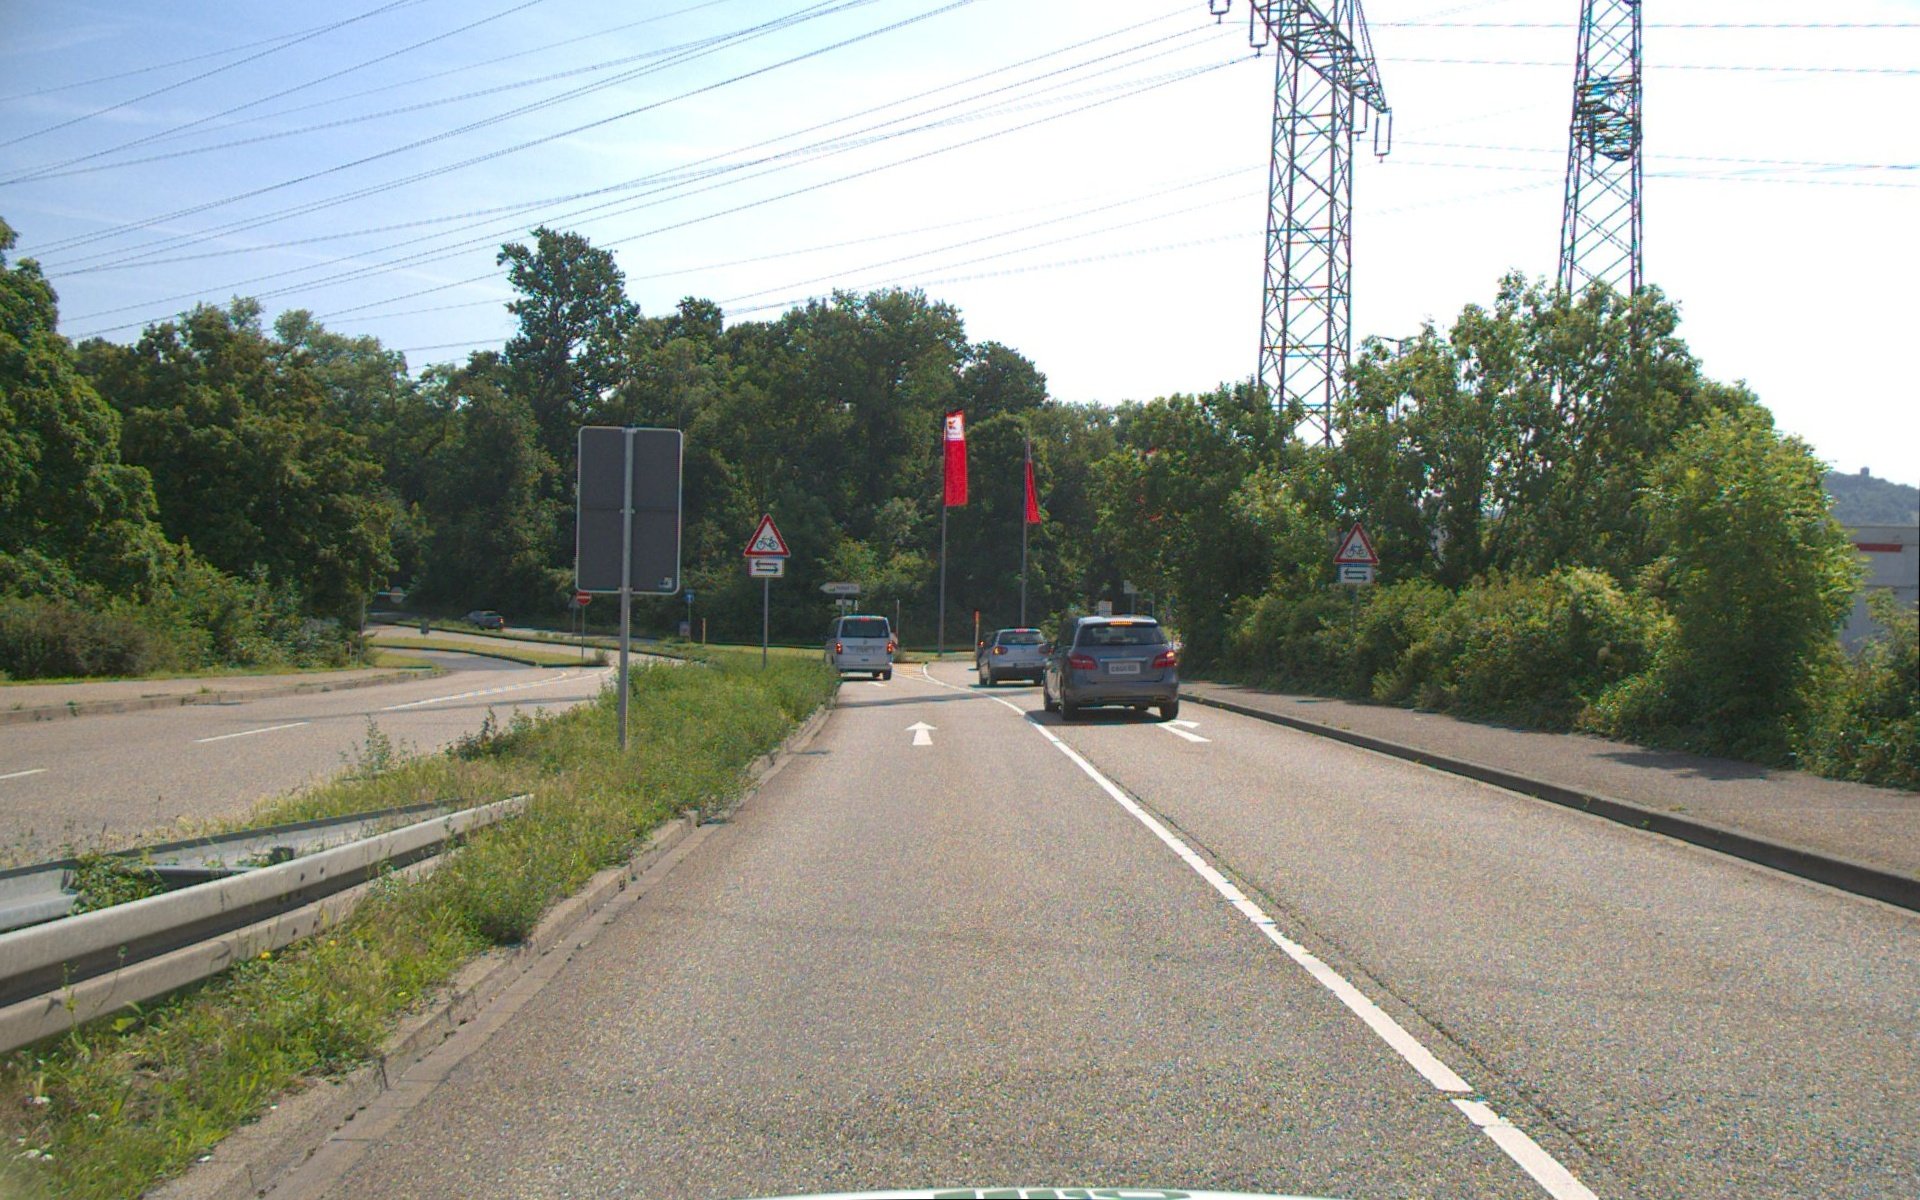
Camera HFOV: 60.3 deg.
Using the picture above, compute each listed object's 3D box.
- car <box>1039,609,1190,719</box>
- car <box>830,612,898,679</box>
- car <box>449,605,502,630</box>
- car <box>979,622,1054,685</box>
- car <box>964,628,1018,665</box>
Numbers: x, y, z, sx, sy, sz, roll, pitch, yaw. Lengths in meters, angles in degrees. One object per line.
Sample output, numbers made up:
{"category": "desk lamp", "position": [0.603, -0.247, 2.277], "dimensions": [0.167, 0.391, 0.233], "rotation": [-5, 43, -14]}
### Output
{"category": "car", "position": [2.329, 0.940, 25.953], "dimensions": [1.819, 1.556, 4.142], "rotation": [-1, -1, -2]}
{"category": "car", "position": [-3.090, 1.404, 52.585], "dimensions": [1.999, 2.049, 3.995], "rotation": [0, 0, -5]}
{"category": "car", "position": [-34.773, 1.241, 118.753], "dimensions": [3.577, 1.593, 1.649], "rotation": [2, 3, 30]}
{"category": "car", "position": [1.455, 1.400, 44.059], "dimensions": [1.818, 1.556, 4.143], "rotation": [-1, -1, 0]}
{"category": "car", "position": [1.283, 1.844, 66.384], "dimensions": [1.735, 1.355, 3.744], "rotation": [1, 1, 8]}
